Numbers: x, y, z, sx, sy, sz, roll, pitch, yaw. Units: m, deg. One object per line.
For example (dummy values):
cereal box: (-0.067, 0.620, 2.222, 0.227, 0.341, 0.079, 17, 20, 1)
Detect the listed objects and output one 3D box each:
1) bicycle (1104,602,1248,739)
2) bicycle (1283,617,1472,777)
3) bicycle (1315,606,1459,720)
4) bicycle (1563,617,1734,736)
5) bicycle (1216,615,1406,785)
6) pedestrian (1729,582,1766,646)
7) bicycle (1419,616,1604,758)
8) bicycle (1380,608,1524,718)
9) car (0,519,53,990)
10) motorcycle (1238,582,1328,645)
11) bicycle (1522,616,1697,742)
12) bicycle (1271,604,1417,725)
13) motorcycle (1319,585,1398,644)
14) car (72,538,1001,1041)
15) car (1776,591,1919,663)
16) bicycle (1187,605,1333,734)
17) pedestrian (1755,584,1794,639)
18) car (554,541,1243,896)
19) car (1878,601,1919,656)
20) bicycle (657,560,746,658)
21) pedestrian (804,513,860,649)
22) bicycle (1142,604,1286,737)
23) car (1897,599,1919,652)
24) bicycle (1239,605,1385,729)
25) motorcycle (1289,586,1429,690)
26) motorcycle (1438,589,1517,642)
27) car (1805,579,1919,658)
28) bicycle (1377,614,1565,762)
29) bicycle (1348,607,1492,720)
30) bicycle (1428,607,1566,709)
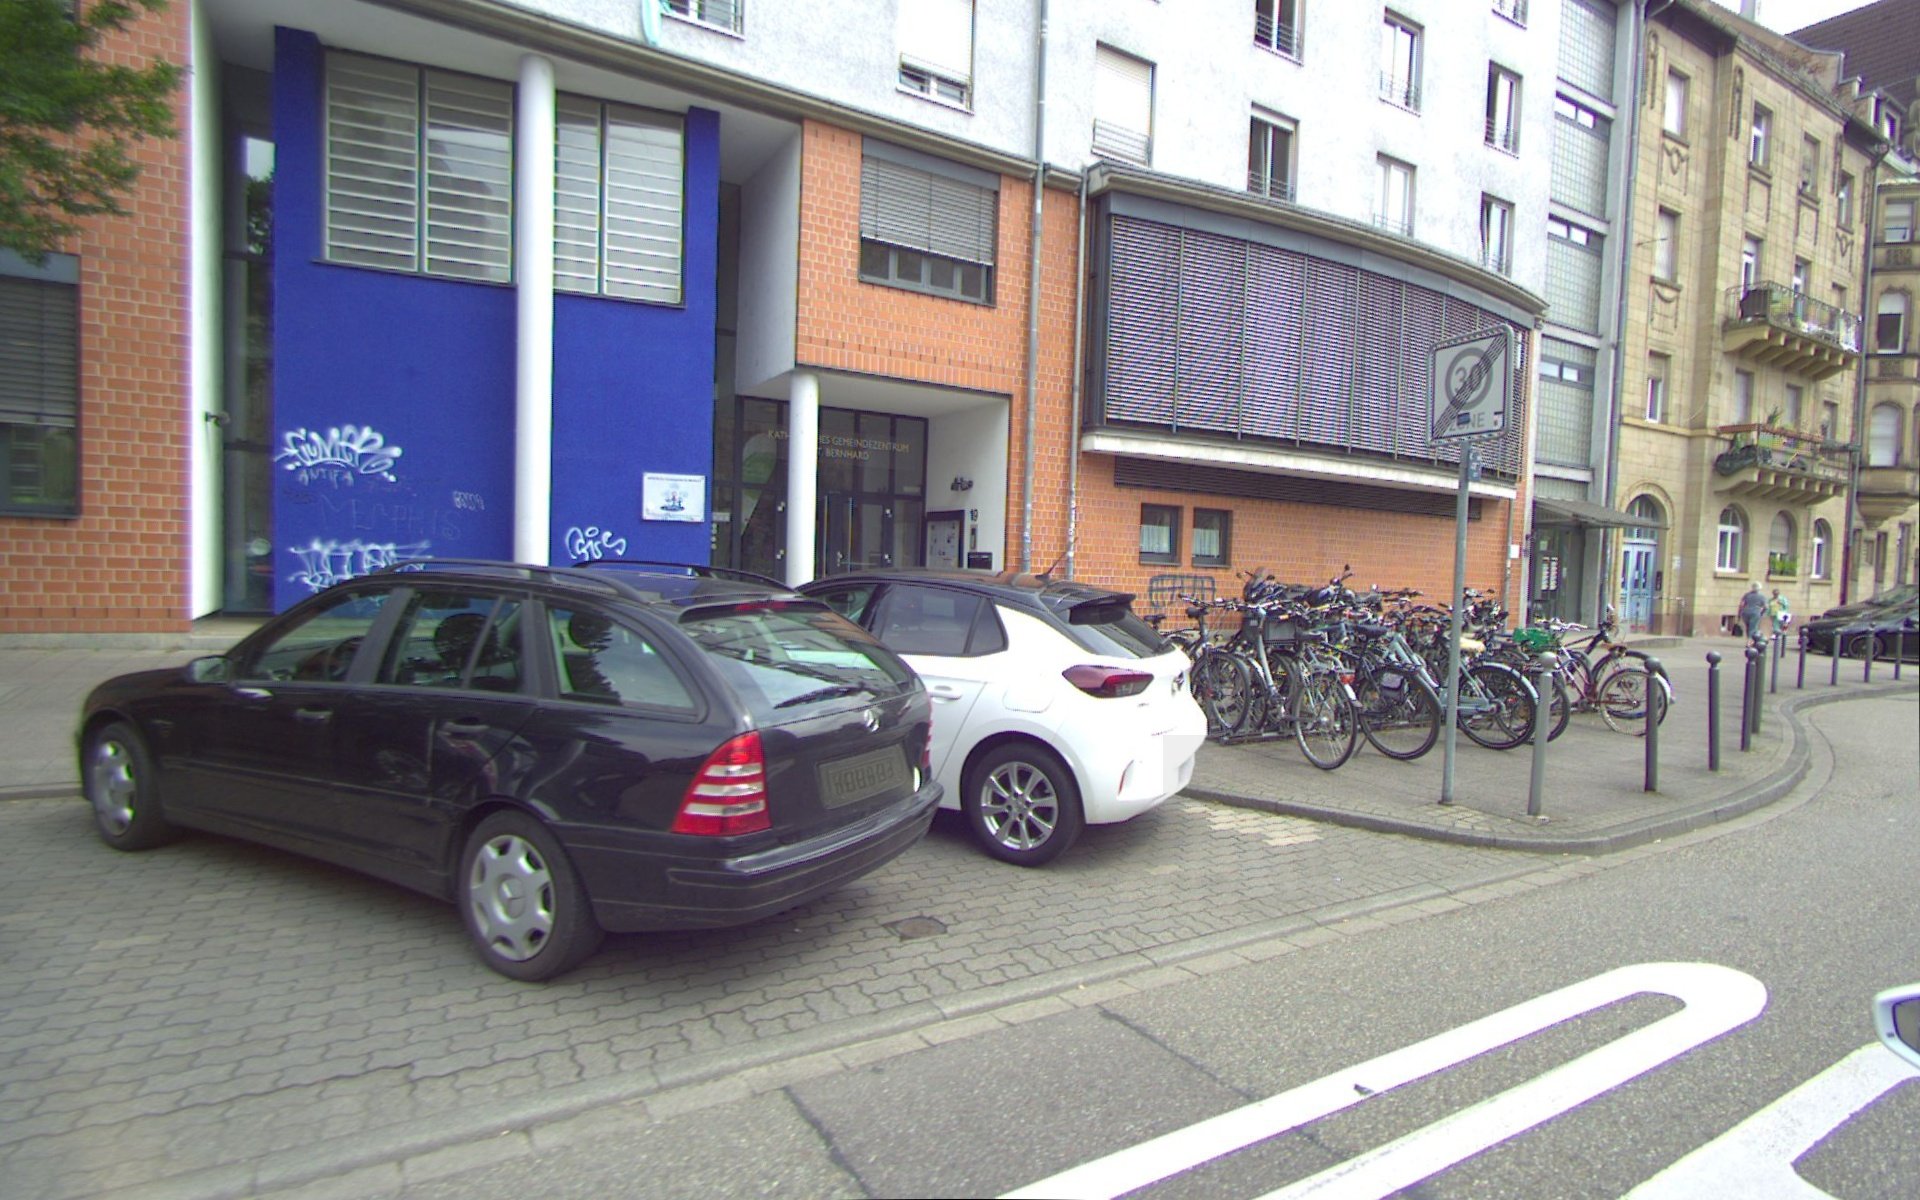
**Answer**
bicycle: (1.879, 0.584, 8.911, 0.397, 1.040, 1.400, 1, 3, -28)
bicycle: (3.291, 0.724, 8.043, 0.397, 1.040, 1.400, 1, 5, -28)
bicycle: (4.437, 0.625, 10.534, 0.397, 1.040, 1.400, 1, 3, -28)
bicycle: (7.263, 0.774, 10.666, 0.397, 1.052, 1.400, 1, 5, -28)
bicycle: (2.610, 0.701, 7.626, 0.397, 1.040, 1.400, 1, 5, -28)
pedestrian: (19.623, 0.336, 25.029, 0.642, 1.566, 0.506, 4, 3, 40)
bicycle: (4.906, 0.736, 9.030, 0.397, 1.052, 1.400, 1, 5, -28)
bicycle: (5.340, 0.654, 10.990, 0.397, 1.040, 1.400, 1, 3, -28)
car: (-5.175, 0.414, 3.422, 3.930, 1.531, 1.708, 4, 3, 25)
motorcycle: (5.841, 0.230, 18.146, 1.639, 1.063, 0.580, 0, 4, -33)
bicycle: (6.531, 0.757, 10.172, 0.397, 1.052, 1.400, 1, 5, -28)
bicycle: (3.794, 0.603, 10.033, 0.397, 1.040, 1.400, 1, 3, -28)
motorcycle: (7.782, 0.255, 19.562, 1.952, 1.063, 0.578, -1, 5, -43)
car: (-2.107, 0.524, 4.805, 4.236, 1.489, 1.715, 3, 2, 26)
car: (22.764, 0.717, 24.008, 4.580, 1.428, 1.899, 5, 5, 20)
bicycle: (2.785, 0.614, 9.450, 0.397, 1.040, 1.400, 1, 3, -28)
pedestrian: (23.132, 0.327, 28.526, 0.503, 1.505, 0.656, 0, 2, -31)
car: (-0.428, 0.489, 6.191, 3.930, 1.566, 1.601, 3, 2, 25)
car: (27.888, 0.857, 27.253, 3.932, 1.428, 1.797, 3, 2, 18)
bicycle: (-3.160, 0.082, 12.157, 0.917, 0.939, 1.608, 1, 8, -19)
pedestrian: (-1.997, -0.295, 15.596, 0.768, 2.041, 0.729, 1, 2, -11)
bicycle: (2.278, 0.598, 9.160, 0.397, 1.040, 1.400, 1, 3, -28)
car: (29.997, 0.817, 28.987, 3.921, 1.523, 1.630, 3, 2, 24)
bicycle: (3.386, 0.612, 9.780, 0.397, 1.040, 1.400, 1, 3, -28)
motorcycle: (4.946, 0.451, 12.434, 1.758, 1.188, 0.580, 1, 4, -30)
motorcycle: (10.991, 0.323, 21.323, 1.773, 1.063, 0.580, 0, 4, -31)
car: (25.387, 0.519, 25.801, 5.171, 1.936, 2.119, 3, 2, 25)
bicycle: (4.369, 0.713, 8.692, 0.397, 1.040, 1.400, 1, 5, -28)
bicycle: (4.878, 0.639, 10.730, 0.397, 1.040, 1.400, 1, 3, -28)
bicycle: (6.283, 0.647, 11.813, 0.397, 1.040, 1.400, 1, 3, -28)
